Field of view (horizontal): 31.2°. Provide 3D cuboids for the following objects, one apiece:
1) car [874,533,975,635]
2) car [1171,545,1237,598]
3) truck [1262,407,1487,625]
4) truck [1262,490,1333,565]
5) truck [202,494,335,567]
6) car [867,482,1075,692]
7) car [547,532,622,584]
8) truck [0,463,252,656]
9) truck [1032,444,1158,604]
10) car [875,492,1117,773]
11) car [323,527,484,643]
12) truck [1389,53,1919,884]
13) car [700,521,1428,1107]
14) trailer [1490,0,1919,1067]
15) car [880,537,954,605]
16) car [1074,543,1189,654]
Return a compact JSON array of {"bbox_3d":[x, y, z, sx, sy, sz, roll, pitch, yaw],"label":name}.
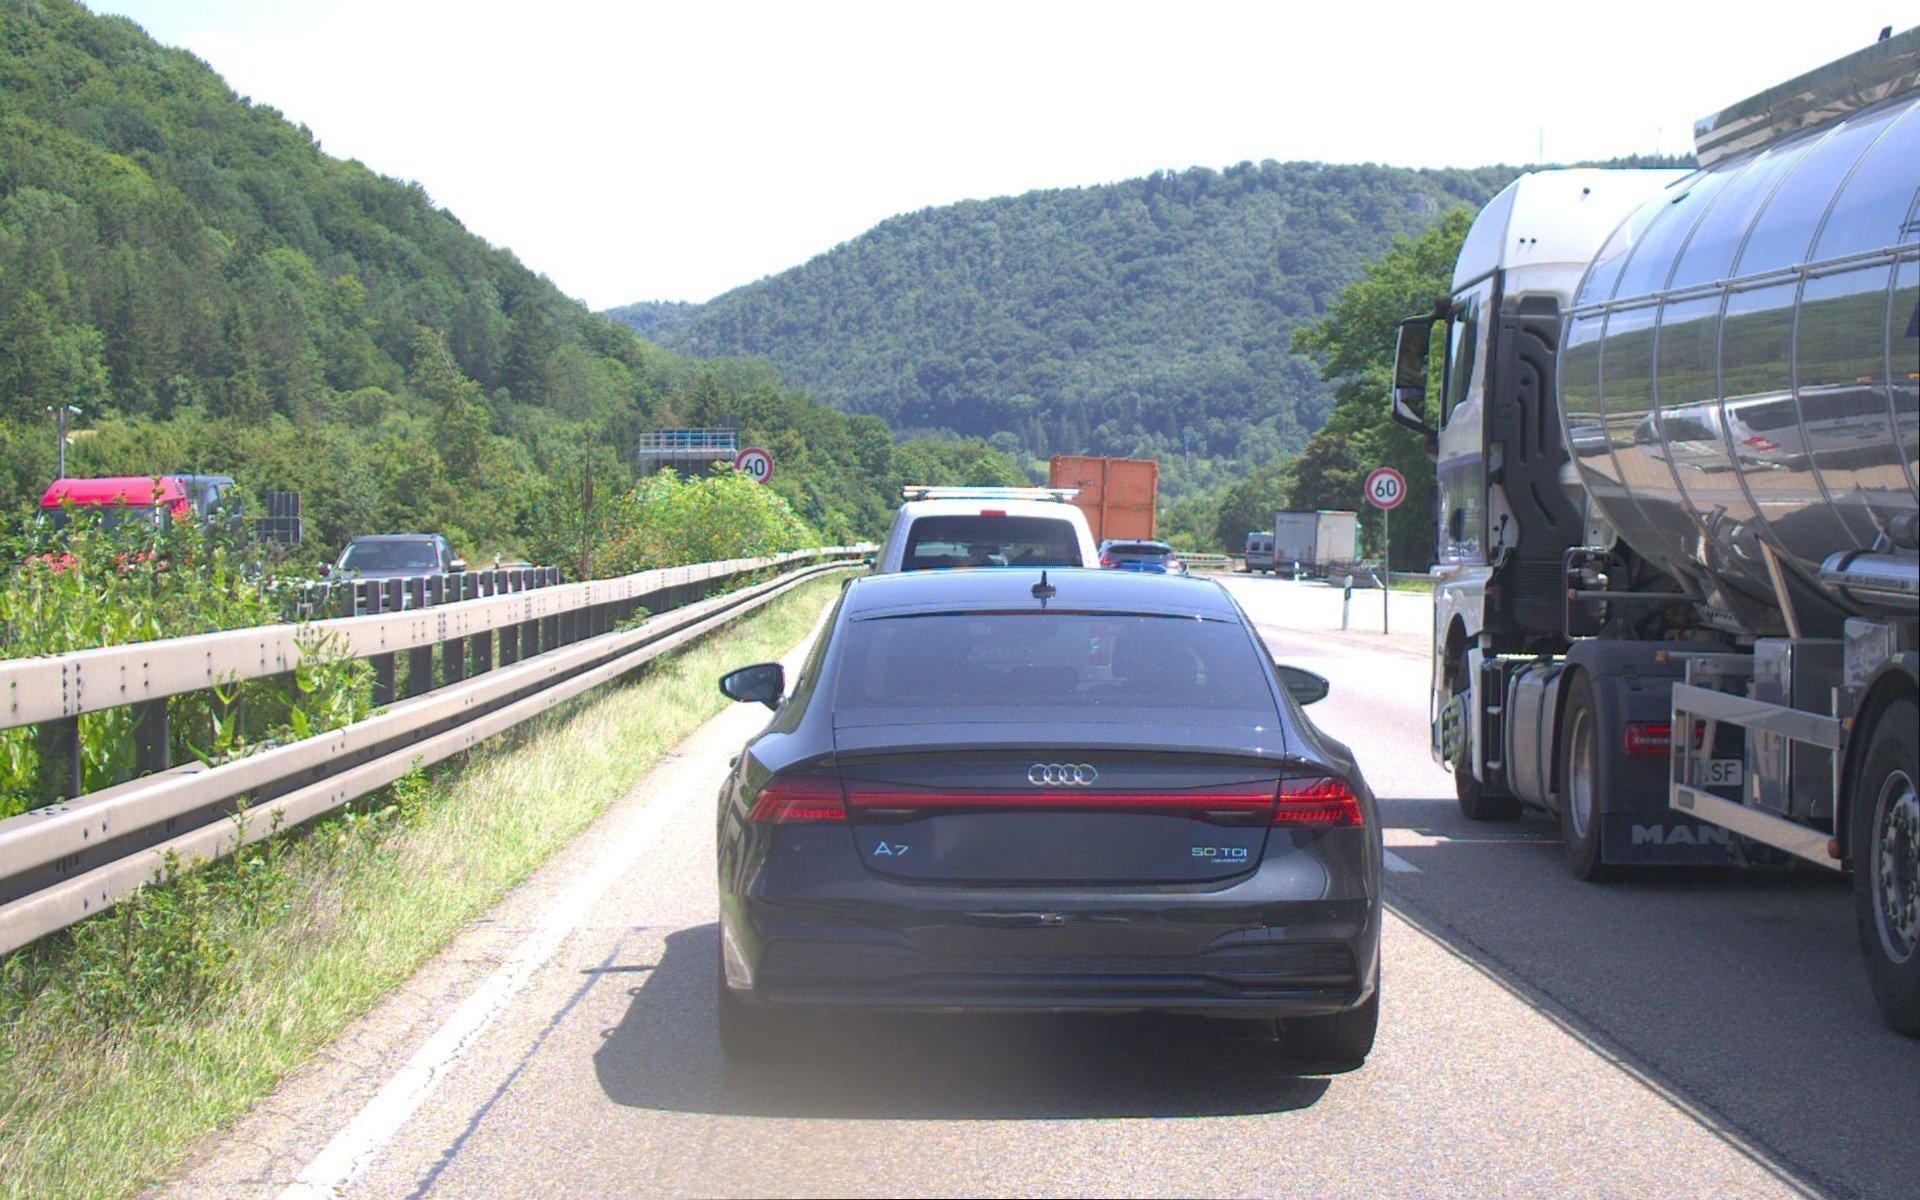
[{"bbox_3d":[-0.739,-0.361,70.124,1.993,2.007,4.000,0,1,-1],"label":"car"},{"bbox_3d":[7.160,-0.866,101.227,1.747,1.525,4.000,0,1,1],"label":"car"},{"bbox_3d":[8.277,-1.697,70.701,2.817,3.989,14.956,0,1,0],"label":"truck"},{"bbox_3d":[20.707,-4.423,209.963,3.794,4.399,14.951,1,1,7],"label":"truck"},{"bbox_3d":[-26.249,-2.631,130.895,3.580,2.686,8.449,0,1,-2],"label":"truck"},{"bbox_3d":[0.081,-0.165,35.136,1.993,2.007,4.000,0,1,-1],"label":"car"},{"bbox_3d":[-11.936,-1.340,109.450,1.922,1.615,4.561,0,1,0],"label":"car"},{"bbox_3d":[-12.179,-0.627,50.152,2.296,2.579,7.969,0,1,-2],"label":"truck"},{"bbox_3d":[3.530,-2.046,93.300,2.817,3.989,14.956,0,1,0],"label":"truck"},{"bbox_3d":[0.209,0.171,24.498,1.576,1.827,4.000,0,1,-1],"label":"car"},{"bbox_3d":[-7.993,-0.245,49.663,1.776,1.593,4.000,0,1,-2],"label":"car"},{"bbox_3d":[3.927,-0.638,18.181,2.511,3.745,5.246,0,1,-1],"label":"truck"},{"bbox_3d":[0.132,0.507,10.790,1.849,1.483,4.084,0,1,-4],"label":"car"},{"bbox_3d":[4.090,-0.499,11.411,2.538,3.722,11.893,0,1,-1],"label":"trailer"},{"bbox_3d":[-1.021,-0.737,84.156,1.712,1.613,4.000,0,1,1],"label":"car"},{"bbox_3d":[3.198,-0.068,64.734,1.993,1.996,4.000,0,1,1],"label":"car"}]
